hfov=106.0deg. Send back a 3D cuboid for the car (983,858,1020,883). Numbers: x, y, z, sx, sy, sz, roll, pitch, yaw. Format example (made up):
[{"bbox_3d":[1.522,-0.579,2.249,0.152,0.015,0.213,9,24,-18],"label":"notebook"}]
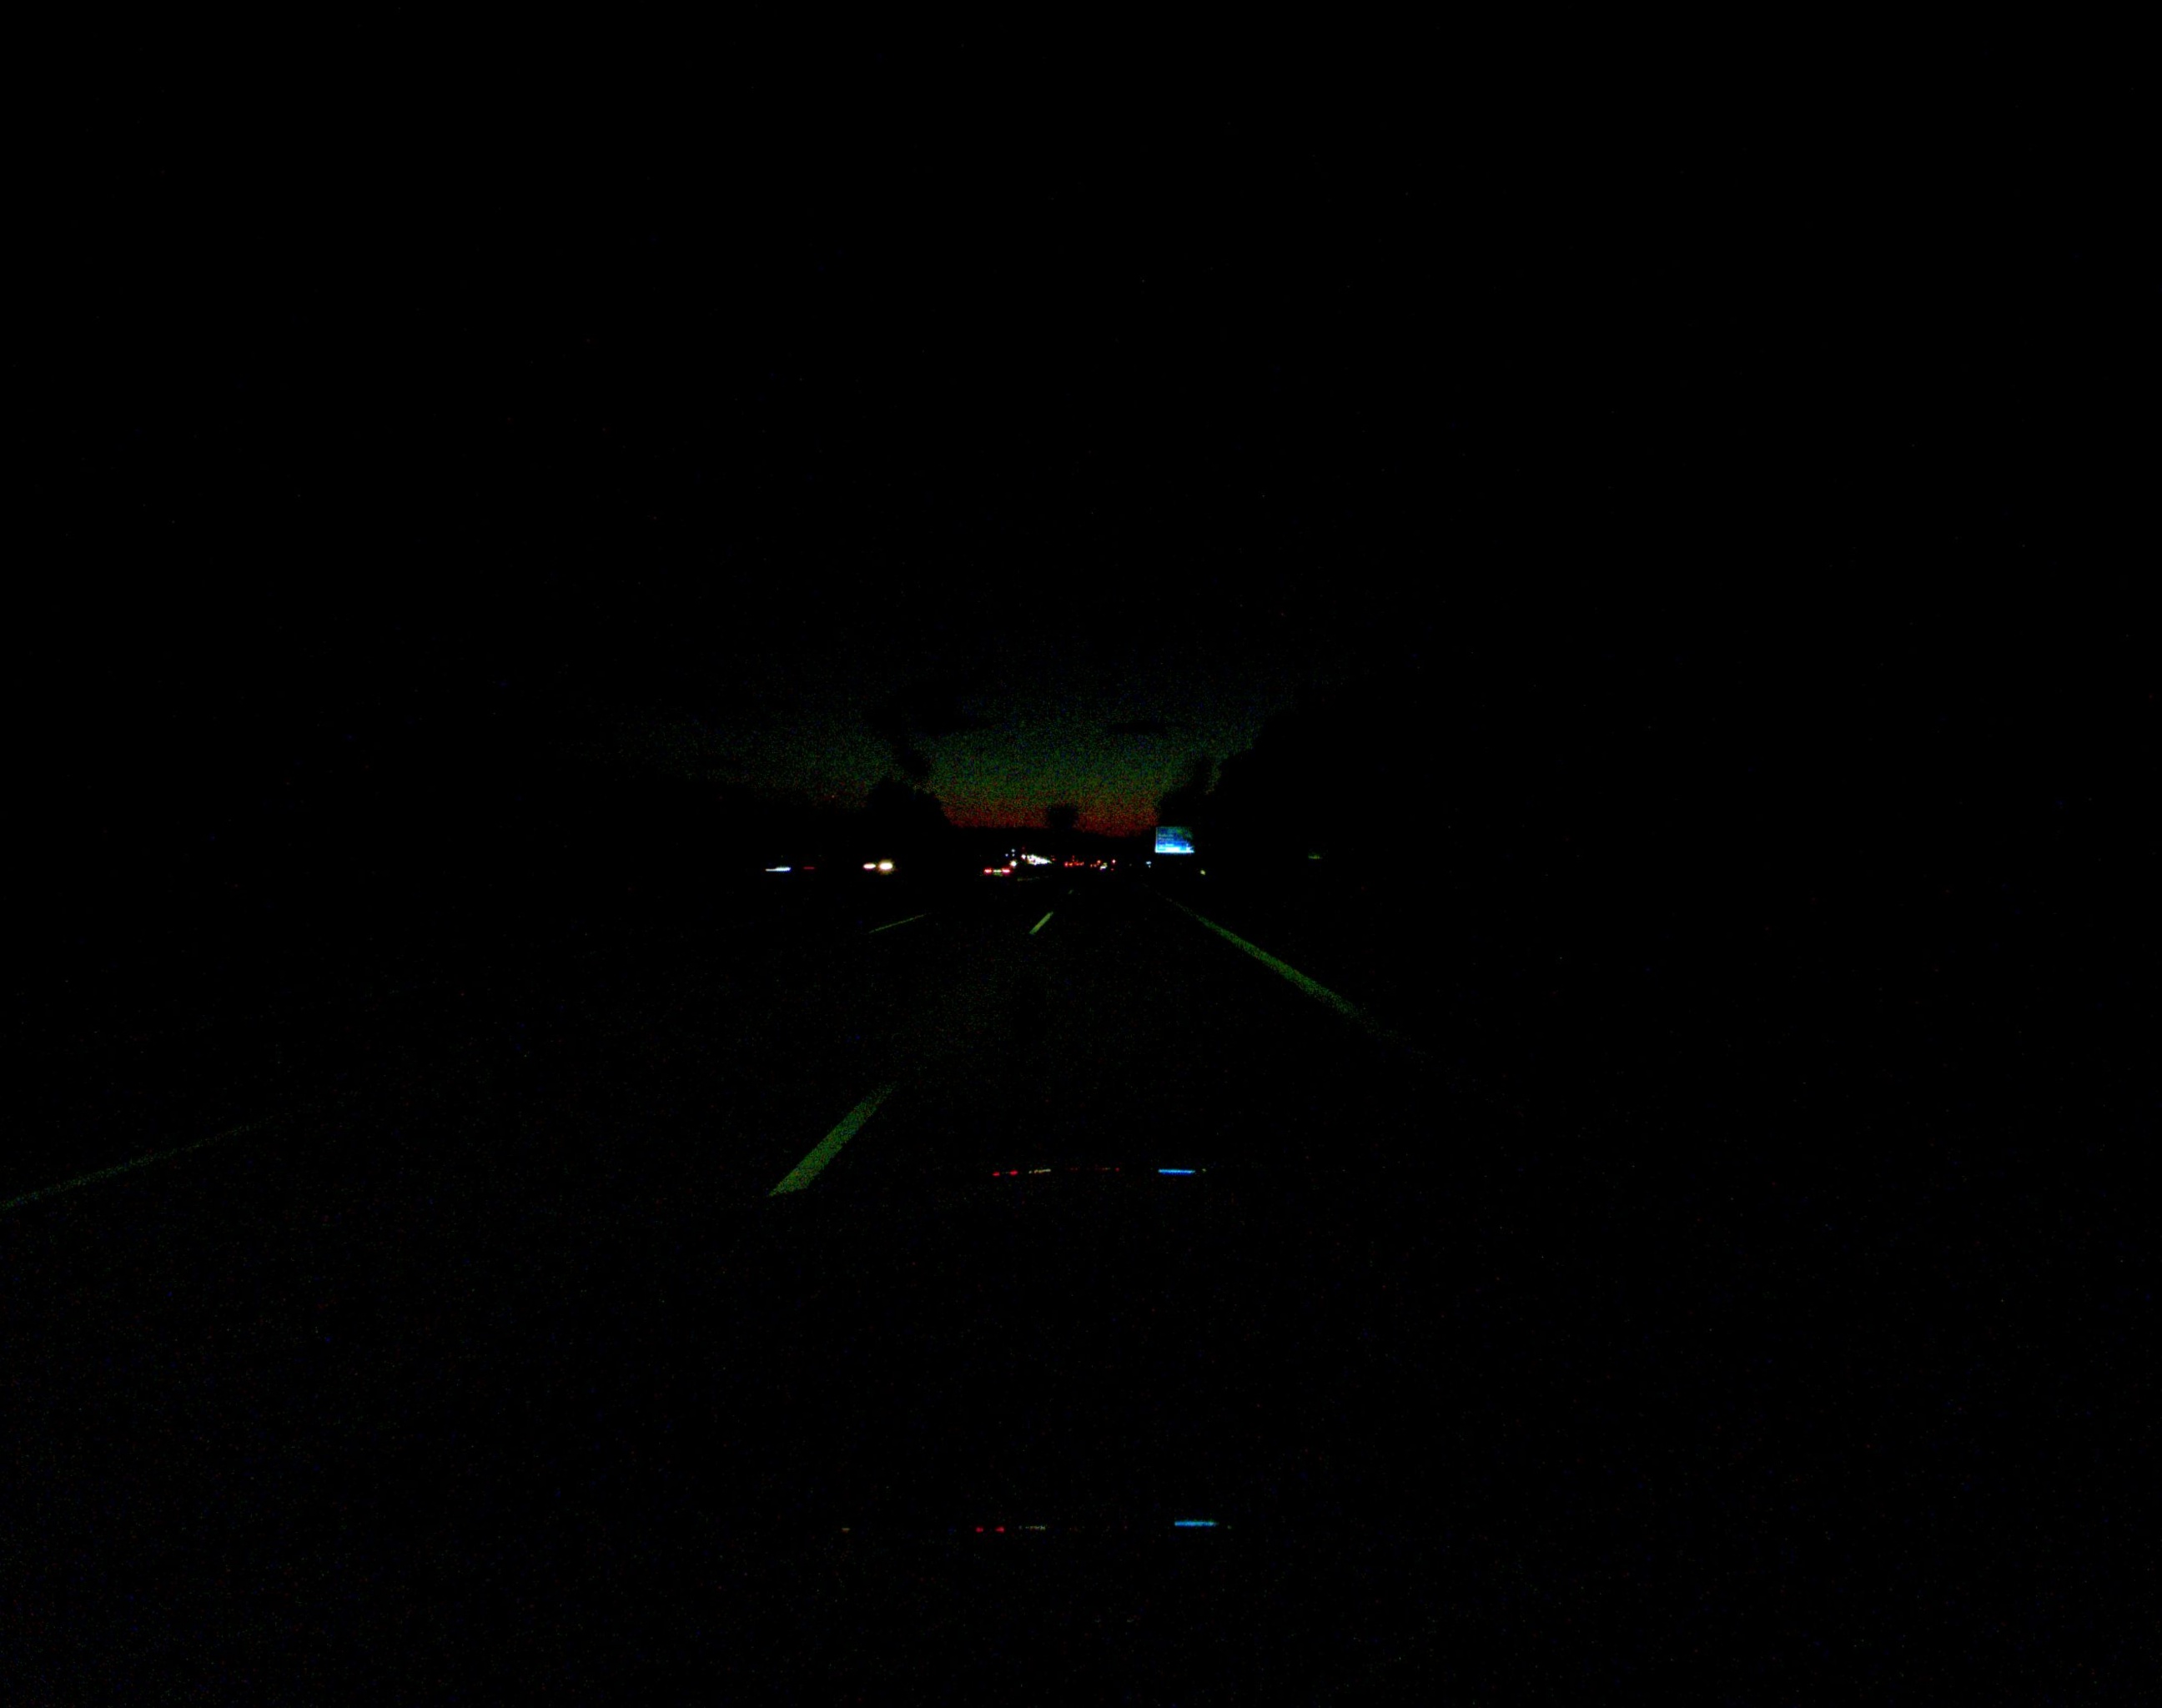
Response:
[{"bbox_3d":[-5.310,1.053,54.981,1.773,1.487,5.256,2,0,2],"label":"car"}]

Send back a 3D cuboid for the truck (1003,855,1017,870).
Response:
[{"bbox_3d":[-18.868,2.189,216.079,2.510,3.852,9.068,-1,-1,2],"label":"truck"}]

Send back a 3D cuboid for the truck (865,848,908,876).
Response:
[{"bbox_3d":[-19.812,0.763,83.228,2.188,2.726,7.627,2,0,2],"label":"truck"}]

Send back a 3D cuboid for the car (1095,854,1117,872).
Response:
[{"bbox_3d":[2.816,0.986,91.275,2.186,1.955,4.769,-2,0,5],"label":"car"}]

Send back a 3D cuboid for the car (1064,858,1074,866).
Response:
[{"bbox_3d":[-3.062,2.126,211.128,2.188,1.955,4.635,2,0,2],"label":"car"}]
